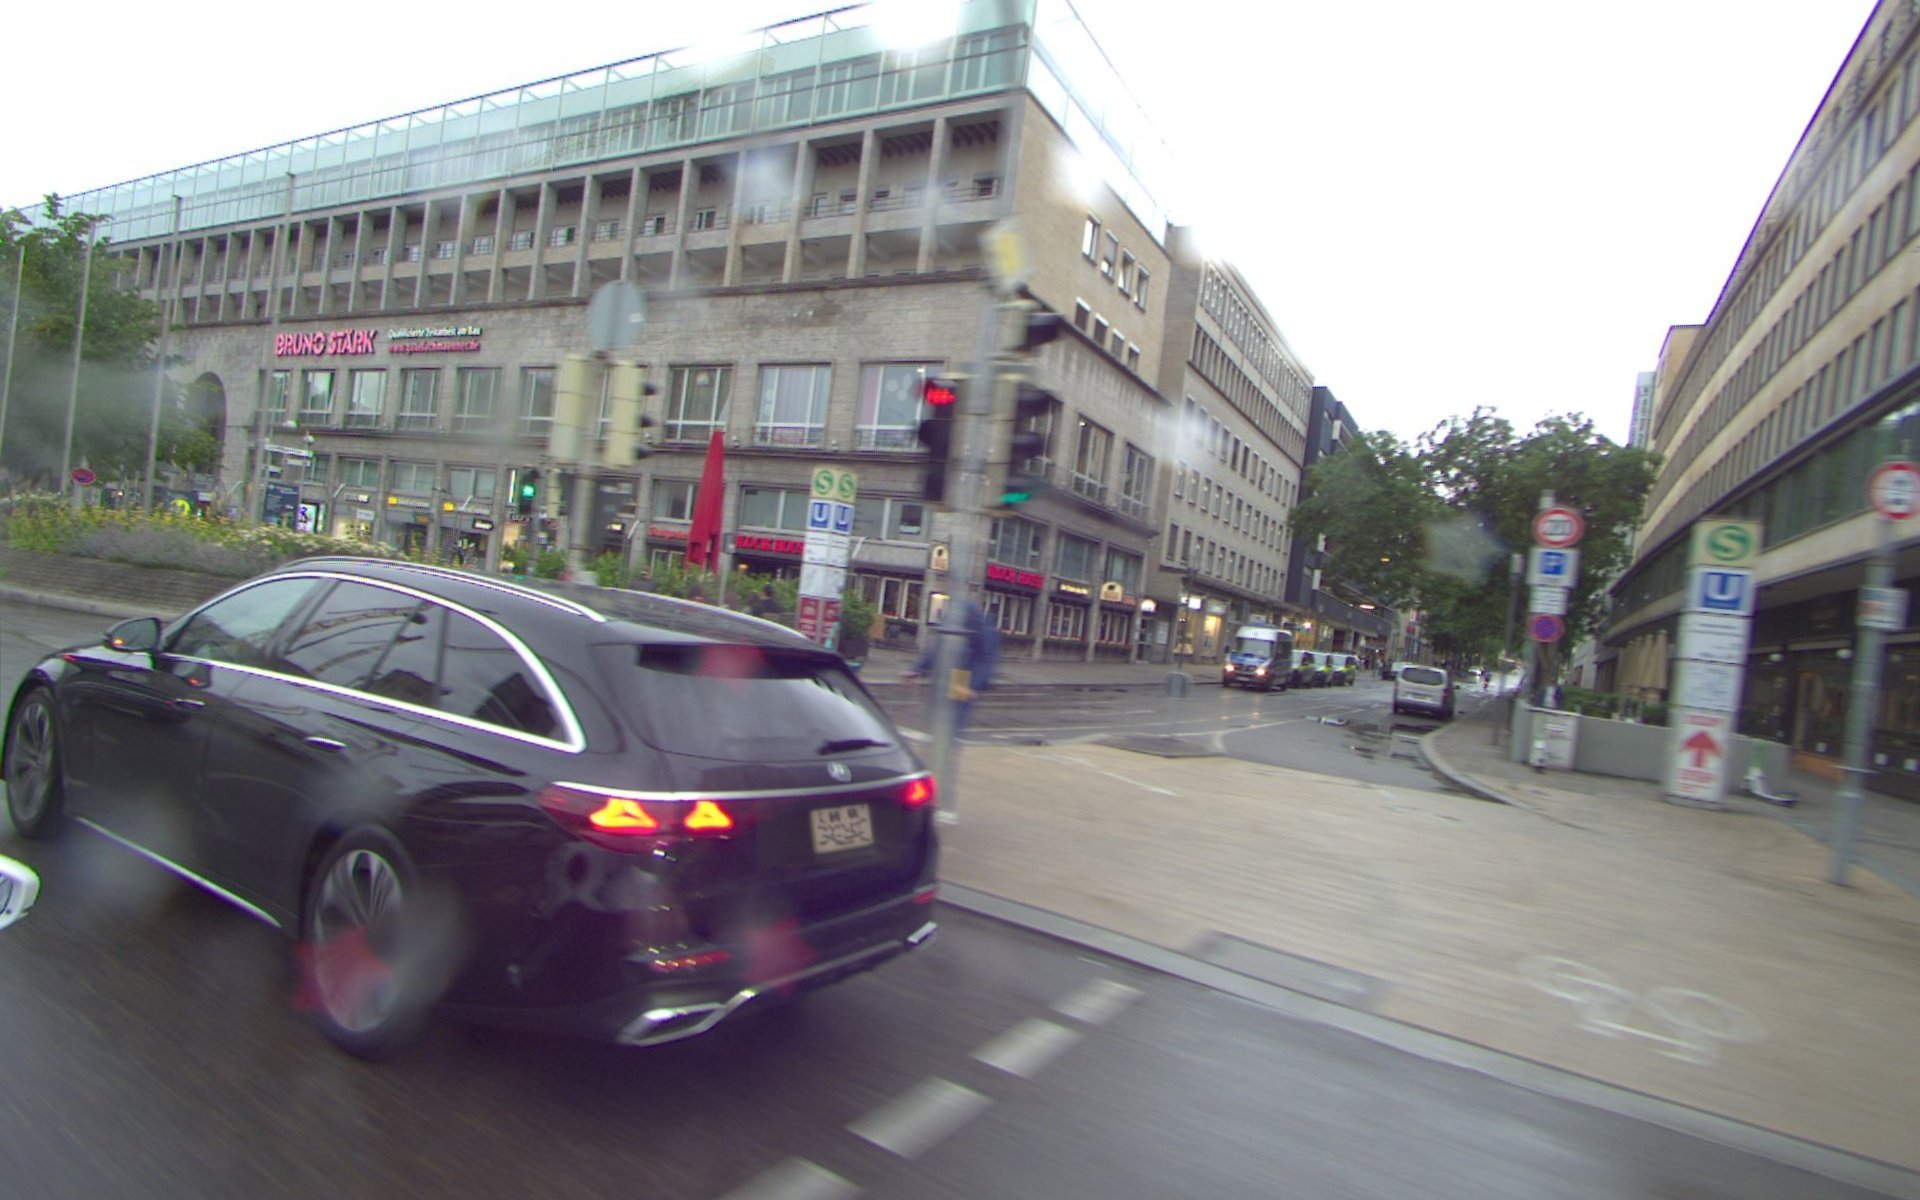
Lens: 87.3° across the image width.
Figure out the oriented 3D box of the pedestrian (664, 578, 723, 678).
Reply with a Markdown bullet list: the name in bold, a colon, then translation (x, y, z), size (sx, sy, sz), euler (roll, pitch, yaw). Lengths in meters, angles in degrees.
- **pedestrian**: translation (-4.629, 0.491, 17.486), size (0.487, 1.649, 0.626), euler (7, 0, 34)

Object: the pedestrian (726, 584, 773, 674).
- **pedestrian**: translation (-3.816, 0.529, 18.276), size (0.505, 1.564, 0.424), euler (7, 0, 34)

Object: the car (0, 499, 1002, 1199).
- **car**: translation (-2.338, 0.551, 4.386), size (4.622, 1.481, 1.821), euler (7, -1, 32)

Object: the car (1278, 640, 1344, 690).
- **car**: translation (19.275, 3.609, 55.133), size (2.295, 2.323, 4.691), euler (7, -1, 31)

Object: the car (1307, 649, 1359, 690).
- **car**: translation (22.843, 4.279, 61.469), size (2.062, 2.127, 4.294), euler (7, -1, 31)

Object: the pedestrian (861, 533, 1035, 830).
- **pedestrian**: translation (-0.079, 0.559, 7.181), size (0.779, 1.942, 0.674), euler (7, 0, 32)

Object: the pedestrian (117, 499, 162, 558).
- **pedestrian**: translation (-26.983, -2.359, 33.087), size (1.058, 1.772, 0.641), euler (7, 0, 29)

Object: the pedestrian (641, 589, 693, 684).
- **pedestrian**: translation (-4.980, 0.619, 17.100), size (0.463, 1.539, 0.499), euler (7, 0, 34)

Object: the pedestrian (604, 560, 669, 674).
- **pedestrian**: translation (-5.398, 0.282, 16.805), size (0.670, 1.811, 0.535), euler (7, 0, 34)

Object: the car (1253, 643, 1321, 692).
- **car**: translation (16.224, 3.366, 49.729), size (2.126, 2.072, 4.407), euler (7, -1, 30)

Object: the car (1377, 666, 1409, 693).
- **car**: translation (38.521, 7.089, 89.436), size (1.967, 2.037, 3.994), euler (7, -1, 31)

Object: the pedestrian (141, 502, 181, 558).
- **pedestrian**: translation (-27.017, -2.363, 34.035), size (0.853, 1.772, 0.614), euler (7, 0, 29)

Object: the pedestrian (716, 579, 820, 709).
- **pedestrian**: translation (-2.856, 0.661, 14.985), size (0.971, 1.783, 0.892), euler (7, 0, 36)

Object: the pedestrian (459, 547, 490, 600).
- **pedestrian**: translation (-17.034, -0.924, 35.268), size (0.625, 1.772, 0.532), euler (7, 0, 29)

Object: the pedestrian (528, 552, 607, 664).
- **pedestrian**: translation (-6.663, 0.144, 17.096), size (0.823, 1.772, 0.699), euler (7, 0, 29)

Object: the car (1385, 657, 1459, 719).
- **car**: translation (17.825, 3.378, 38.677), size (1.966, 1.949, 5.159), euler (8, -1, 30)

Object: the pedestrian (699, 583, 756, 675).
- **pedestrian**: translation (-4.139, 0.520, 17.906), size (0.582, 1.547, 0.554), euler (7, 0, 34)

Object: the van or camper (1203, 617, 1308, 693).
- **van or camper**: translation (12.631, 2.404, 42.683), size (2.456, 2.671, 5.999), euler (7, -1, 33)
